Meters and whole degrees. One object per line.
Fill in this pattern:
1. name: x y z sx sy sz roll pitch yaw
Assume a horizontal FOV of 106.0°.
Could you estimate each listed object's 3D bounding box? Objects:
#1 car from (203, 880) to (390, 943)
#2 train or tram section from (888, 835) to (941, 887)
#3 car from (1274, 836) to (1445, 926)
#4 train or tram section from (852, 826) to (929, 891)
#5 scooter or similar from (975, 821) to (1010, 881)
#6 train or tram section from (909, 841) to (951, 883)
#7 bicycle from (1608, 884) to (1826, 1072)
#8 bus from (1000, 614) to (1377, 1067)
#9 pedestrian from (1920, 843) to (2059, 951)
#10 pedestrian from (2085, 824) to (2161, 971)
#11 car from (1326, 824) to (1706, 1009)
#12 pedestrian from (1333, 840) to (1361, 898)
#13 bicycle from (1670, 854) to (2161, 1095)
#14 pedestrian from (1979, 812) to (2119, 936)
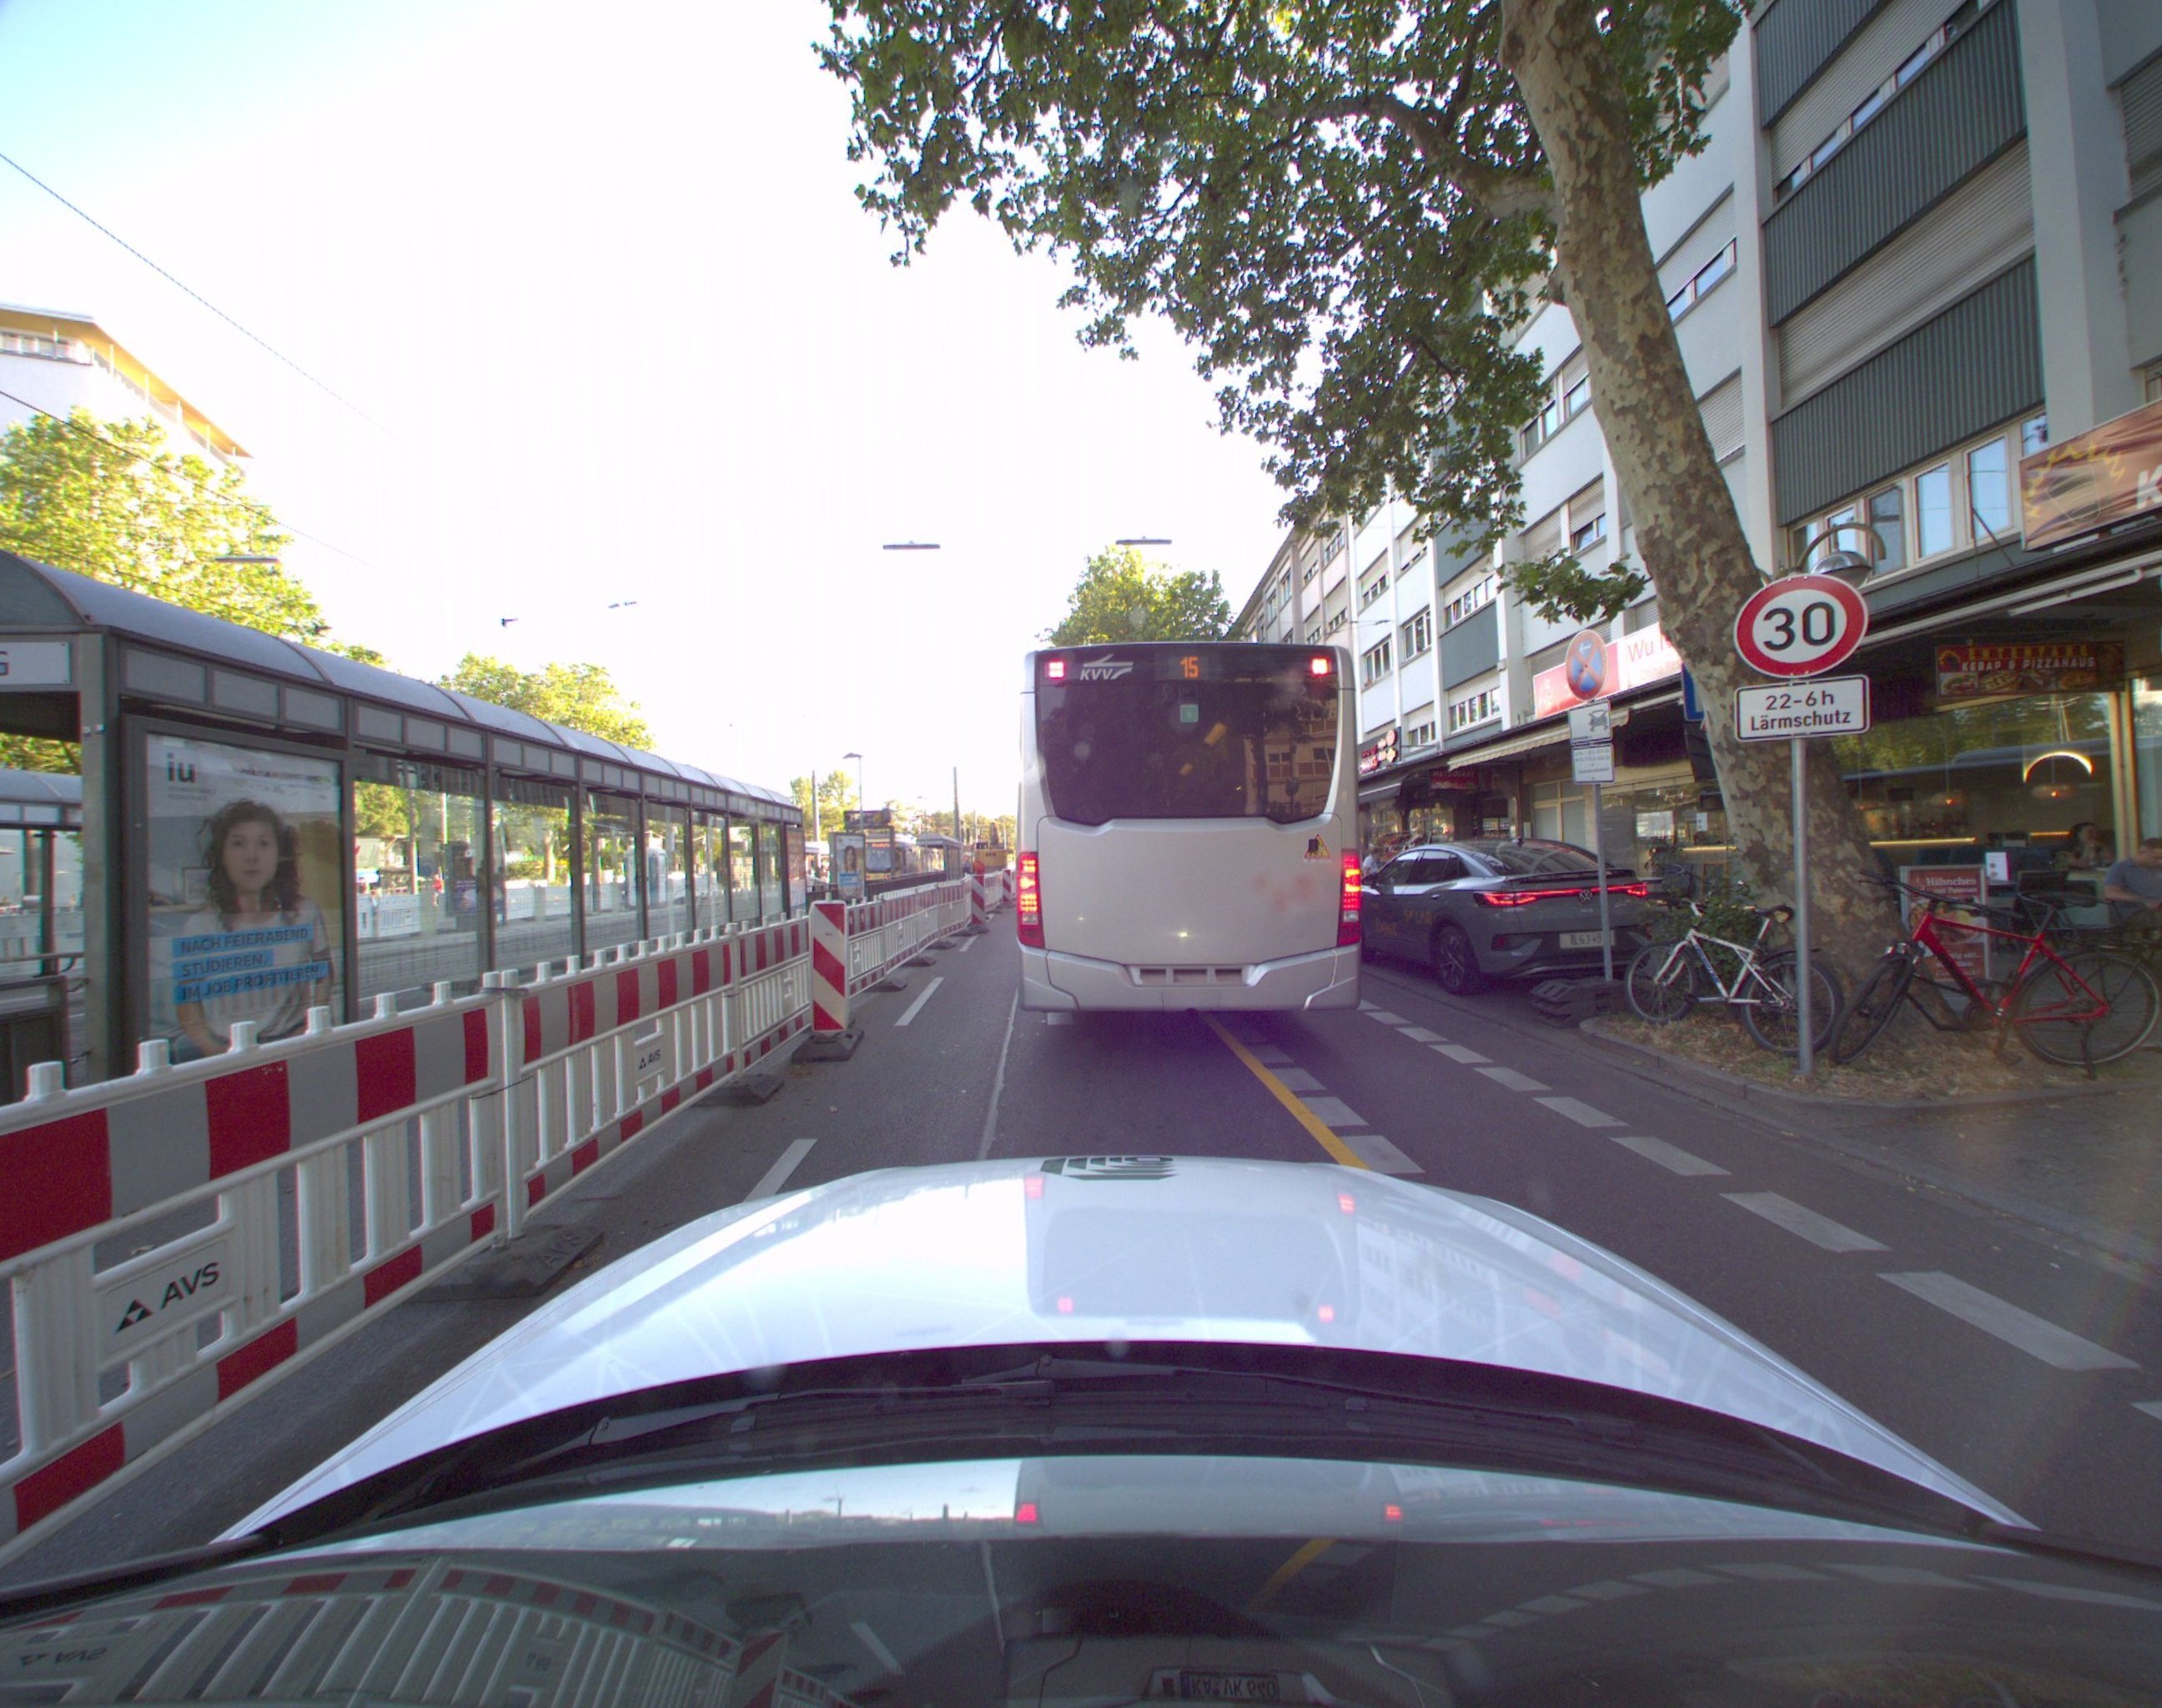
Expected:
1. car: -24.407 1.731 25.584 1.988 1.662 3.997 -2 0 -1
2. train or tram section: -12.517 0.516 62.237 2.682 3.558 11.559 0 -1 -5
3. car: 5.850 0.519 17.776 1.989 1.582 4.364 -4 0 -3
4. train or tram section: -11.575 0.314 50.605 2.681 3.534 11.756 0 -1 -3
5. scooter or similar: -6.969 -0.171 64.751 2.465 4.471 5.961 -2 -1 -5
6. train or tram section: -13.540 0.700 73.750 2.683 3.533 11.558 0 -1 -6
7. bicycle: 4.568 0.831 5.979 0.550 1.155 1.446 -2 -1 6
8. bus: 0.870 -0.069 9.640 2.601 3.126 7.996 0 0 2
9. pedestrian: 9.854 0.448 8.847 0.643 1.081 0.945 -2 -1 -39
10. pedestrian: 9.600 0.367 7.193 0.555 1.245 0.692 -4 0 8
11. car: 4.726 0.574 9.769 1.989 1.582 4.364 -4 0 -3
12. pedestrian: 7.909 0.429 24.221 0.658 1.666 0.603 -4 -1 18
13. bicycle: 5.051 0.717 4.838 2.370 1.155 0.557 -7 -2 14
14. pedestrian: 11.130 0.220 9.383 0.836 1.333 0.963 -2 -1 -39
